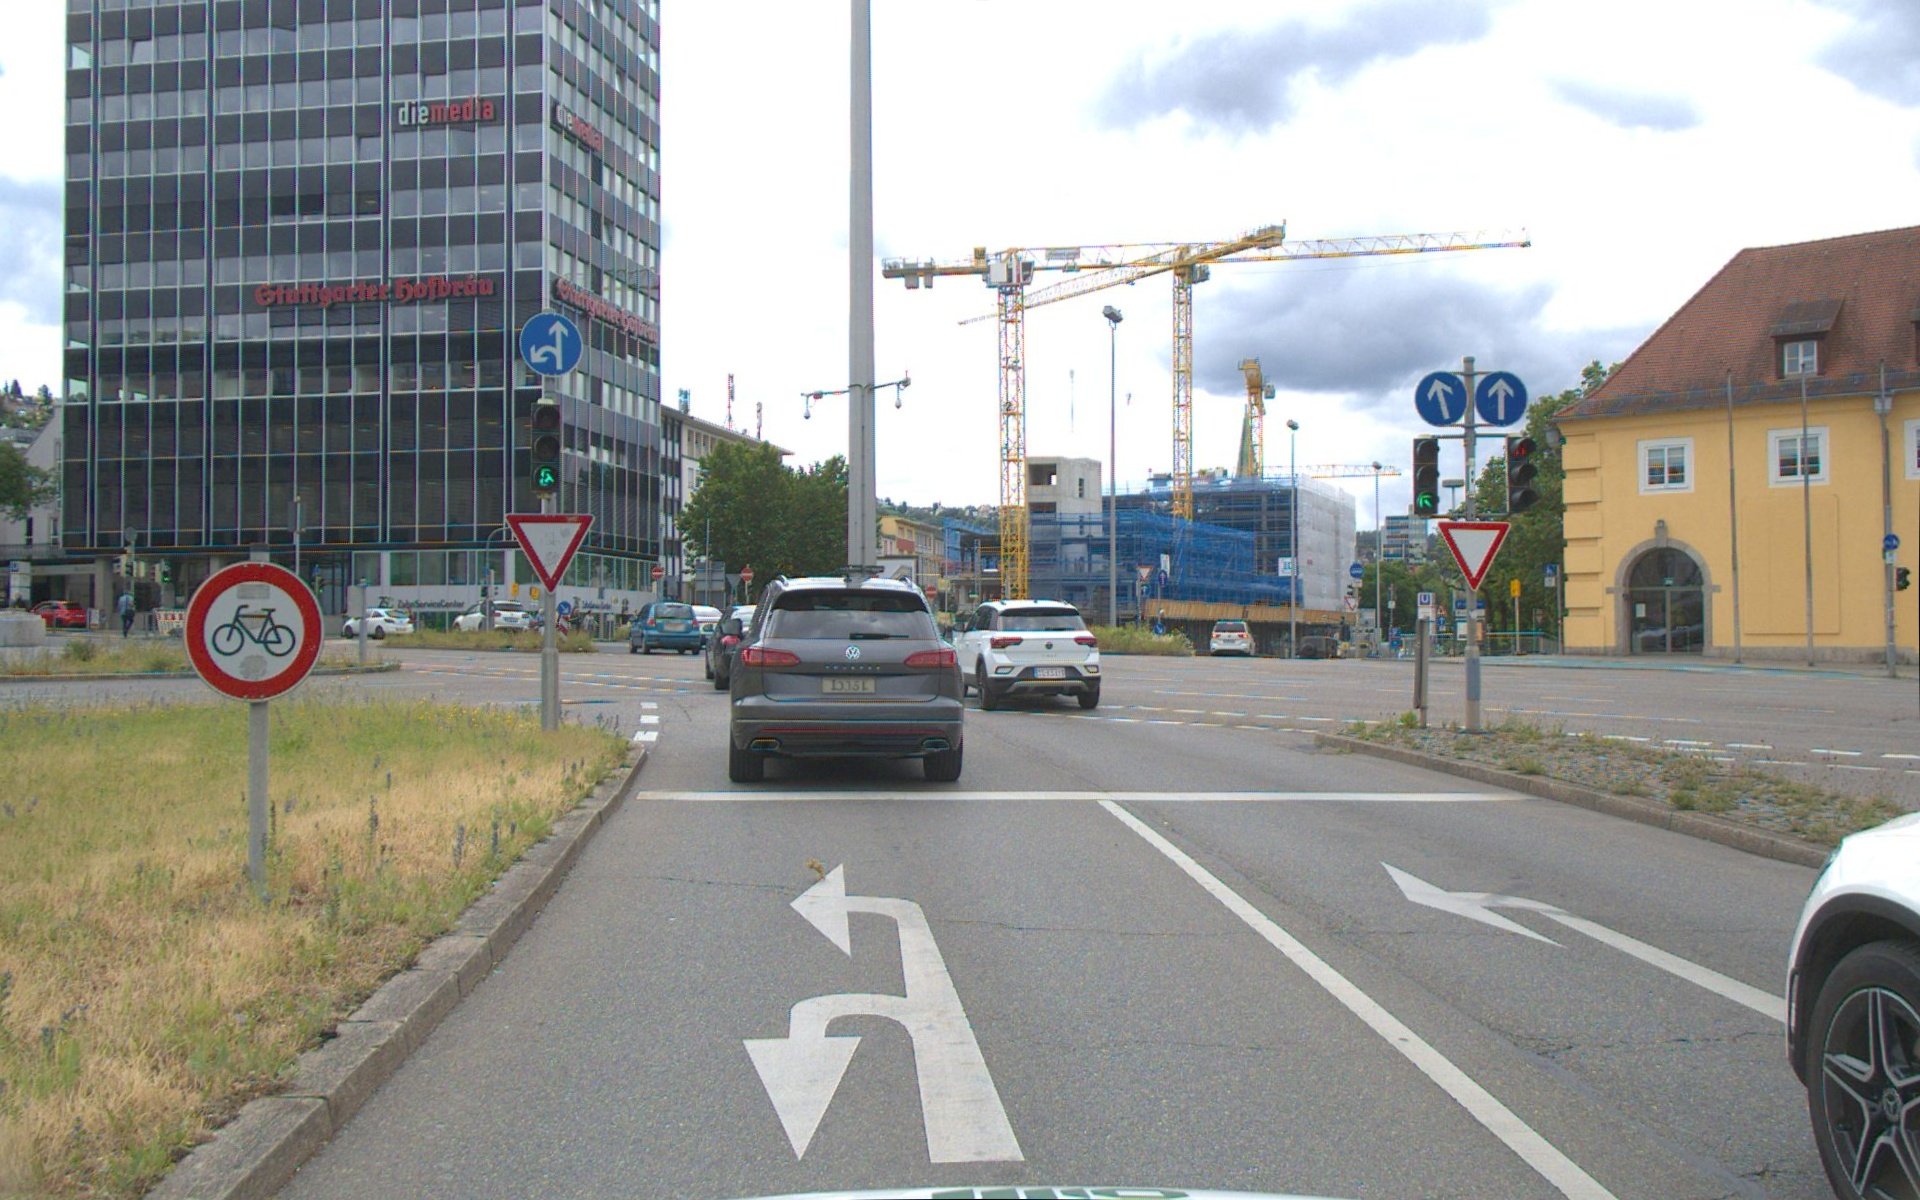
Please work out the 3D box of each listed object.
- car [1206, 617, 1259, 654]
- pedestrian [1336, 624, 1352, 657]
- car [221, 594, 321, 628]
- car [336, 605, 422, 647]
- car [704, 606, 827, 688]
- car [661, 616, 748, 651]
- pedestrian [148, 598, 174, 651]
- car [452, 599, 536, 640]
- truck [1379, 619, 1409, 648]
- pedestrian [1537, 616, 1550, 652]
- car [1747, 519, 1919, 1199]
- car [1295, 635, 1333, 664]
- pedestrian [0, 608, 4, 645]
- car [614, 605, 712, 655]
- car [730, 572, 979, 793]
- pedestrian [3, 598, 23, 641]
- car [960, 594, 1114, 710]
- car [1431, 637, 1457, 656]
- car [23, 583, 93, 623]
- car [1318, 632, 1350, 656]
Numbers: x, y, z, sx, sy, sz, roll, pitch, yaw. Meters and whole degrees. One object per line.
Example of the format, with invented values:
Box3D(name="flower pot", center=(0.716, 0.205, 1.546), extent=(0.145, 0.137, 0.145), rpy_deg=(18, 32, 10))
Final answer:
Box3D(name="car", center=(12.197, 1.562, 73.919), extent=(1.765, 1.529, 3.983), rpy_deg=(0, 0, 18))
Box3D(name="pedestrian", center=(15.583, 1.631, 67.055), extent=(0.537, 1.304, 0.462), rpy_deg=(1, 0, 22))
Box3D(name="car", center=(-33.129, 0.518, 79.506), extent=(4.514, 1.529, 2.246), rpy_deg=(1, 0, 33))
Box3D(name="car", center=(-28.042, 1.224, 79.825), extent=(3.917, 1.638, 1.895), rpy_deg=(3, 6, 34))
Box3D(name="car", center=(-3.606, 0.811, 30.126), extent=(1.762, 1.380, 4.056), rpy_deg=(0, 0, -13))
Box3D(name="car", center=(-9.071, 1.164, 58.522), extent=(1.653, 1.159, 4.026), rpy_deg=(1, 0, -31))
Box3D(name="pedestrian", center=(-36.896, 1.119, 76.355), extent=(0.949, 2.403, 1.029), rpy_deg=(1, 0, -33))
Box3D(name="car", center=(-18.775, 0.761, 66.562), extent=(1.803, 1.522, 3.849), rpy_deg=(0, 1, -40))
Box3D(name="truck", center=(38.707, 2.991, 147.559), extent=(2.084, 2.496, 4.827), rpy_deg=(0, 0, 21))
Box3D(name="pedestrian", center=(27.163, 1.581, 76.957), extent=(0.531, 1.625, 0.742), rpy_deg=(1, 0, 22))
Box3D(name="car", center=(3.098, 0.674, 2.359), extent=(1.782, 1.676, 4.378), rpy_deg=(0, 0, -1))
Box3D(name="car", center=(20.749, 2.887, 96.798), extent=(1.765, 1.529, 3.983), rpy_deg=(0, 0, 18))
Box3D(name="pedestrian", center=(-37.280, 1.022, 63.884), extent=(0.531, 1.420, 0.647), rpy_deg=(1, 0, -34))
Box3D(name="car", center=(-8.684, 0.857, 48.112), extent=(1.771, 1.380, 4.036), rpy_deg=(1, 0, -26))
Box3D(name="car", center=(-1.020, 0.616, 14.656), extent=(1.896, 1.676, 3.995), rpy_deg=(0, 0, -6))
Box3D(name="pedestrian", center=(-36.683, 0.753, 64.084), extent=(0.616, 1.621, 0.584), rpy_deg=(1, 0, -34))
Box3D(name="car", center=(1.087, 0.730, 25.236), extent=(1.856, 1.613, 3.797), rpy_deg=(0, 0, -5))
Box3D(name="car", center=(55.314, 5.269, 189.186), extent=(1.952, 2.049, 4.001), rpy_deg=(0, 0, 2))
Box3D(name="car", center=(-46.641, 0.138, 85.499), extent=(3.929, 2.049, 1.988), rpy_deg=(0, 0, 42))
Box3D(name="car", center=(25.796, 3.000, 114.026), extent=(1.765, 1.529, 3.983), rpy_deg=(0, 0, 18))
